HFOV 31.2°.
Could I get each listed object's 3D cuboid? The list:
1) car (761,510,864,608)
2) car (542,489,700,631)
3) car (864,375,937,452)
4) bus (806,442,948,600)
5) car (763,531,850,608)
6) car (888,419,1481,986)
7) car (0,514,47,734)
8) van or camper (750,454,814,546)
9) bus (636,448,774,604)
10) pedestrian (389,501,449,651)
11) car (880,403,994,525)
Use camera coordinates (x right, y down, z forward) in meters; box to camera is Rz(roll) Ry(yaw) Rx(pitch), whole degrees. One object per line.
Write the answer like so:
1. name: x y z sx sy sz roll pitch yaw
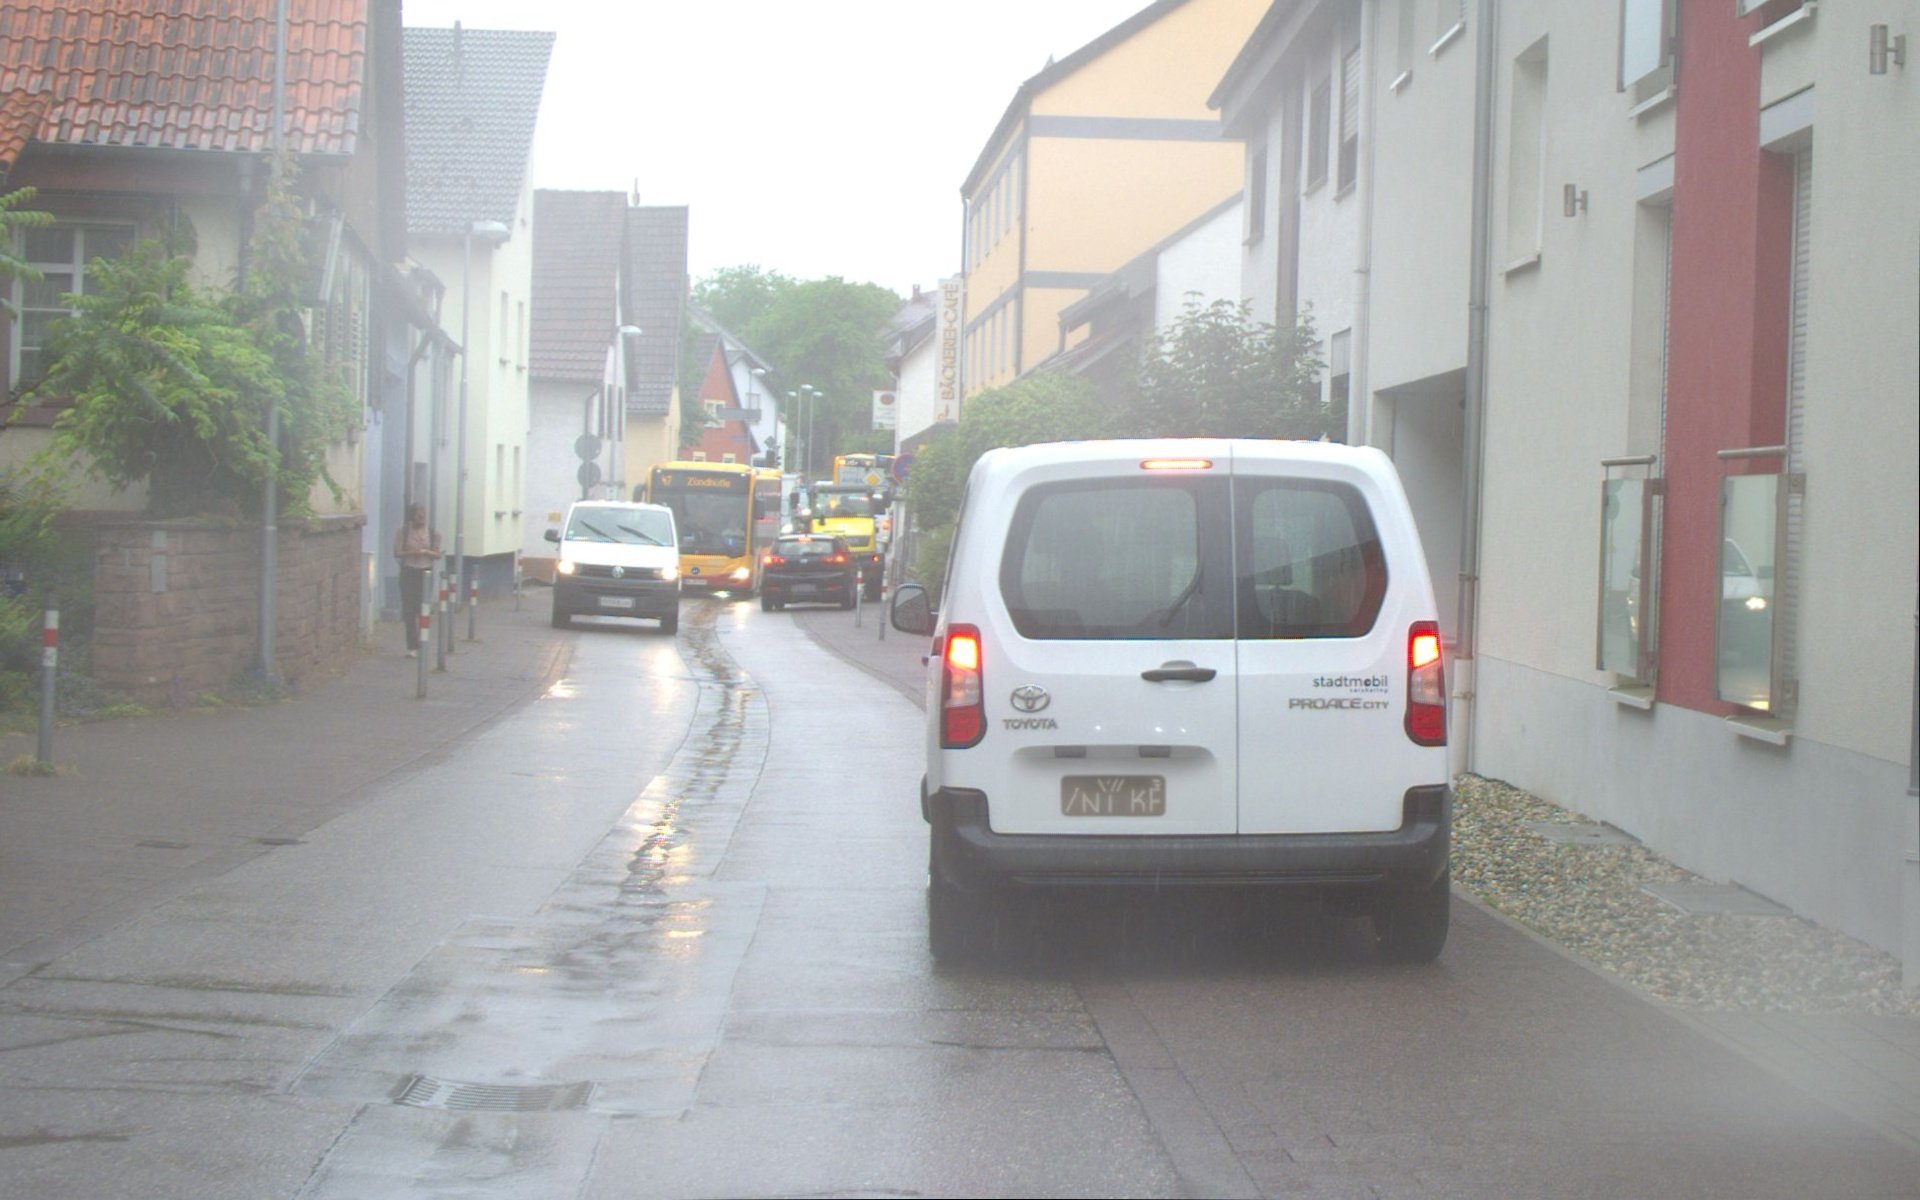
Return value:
1. car: -2.404 -0.672 56.367 1.561 1.475 3.585 3 0 -2
2. car: -5.092 -0.599 52.200 1.892 1.960 4.723 3 0 -1
3. car: -1.770 -5.470 101.287 1.993 2.007 4.000 3 0 -1
4. bus: -1.938 -1.708 76.639 2.793 3.169 8.179 4 0 -3
5. car: -2.943 -0.594 66.447 1.561 1.367 3.585 3 0 -2
6. car: 0.679 0.307 13.073 1.794 1.812 4.102 0 1 -3
7. car: -7.752 0.088 21.680 3.527 1.371 1.595 2 1 0
8. van or camper: -6.020 -3.369 116.956 1.835 2.915 5.363 3 0 -1
9. bus: -5.931 -1.695 81.022 2.793 3.317 8.179 4 0 -3
10. pedestrian: -5.569 -0.249 35.369 0.567 1.525 0.569 1 1 -12
11. car: -0.446 -2.421 62.107 1.827 2.007 3.694 3 0 -3
